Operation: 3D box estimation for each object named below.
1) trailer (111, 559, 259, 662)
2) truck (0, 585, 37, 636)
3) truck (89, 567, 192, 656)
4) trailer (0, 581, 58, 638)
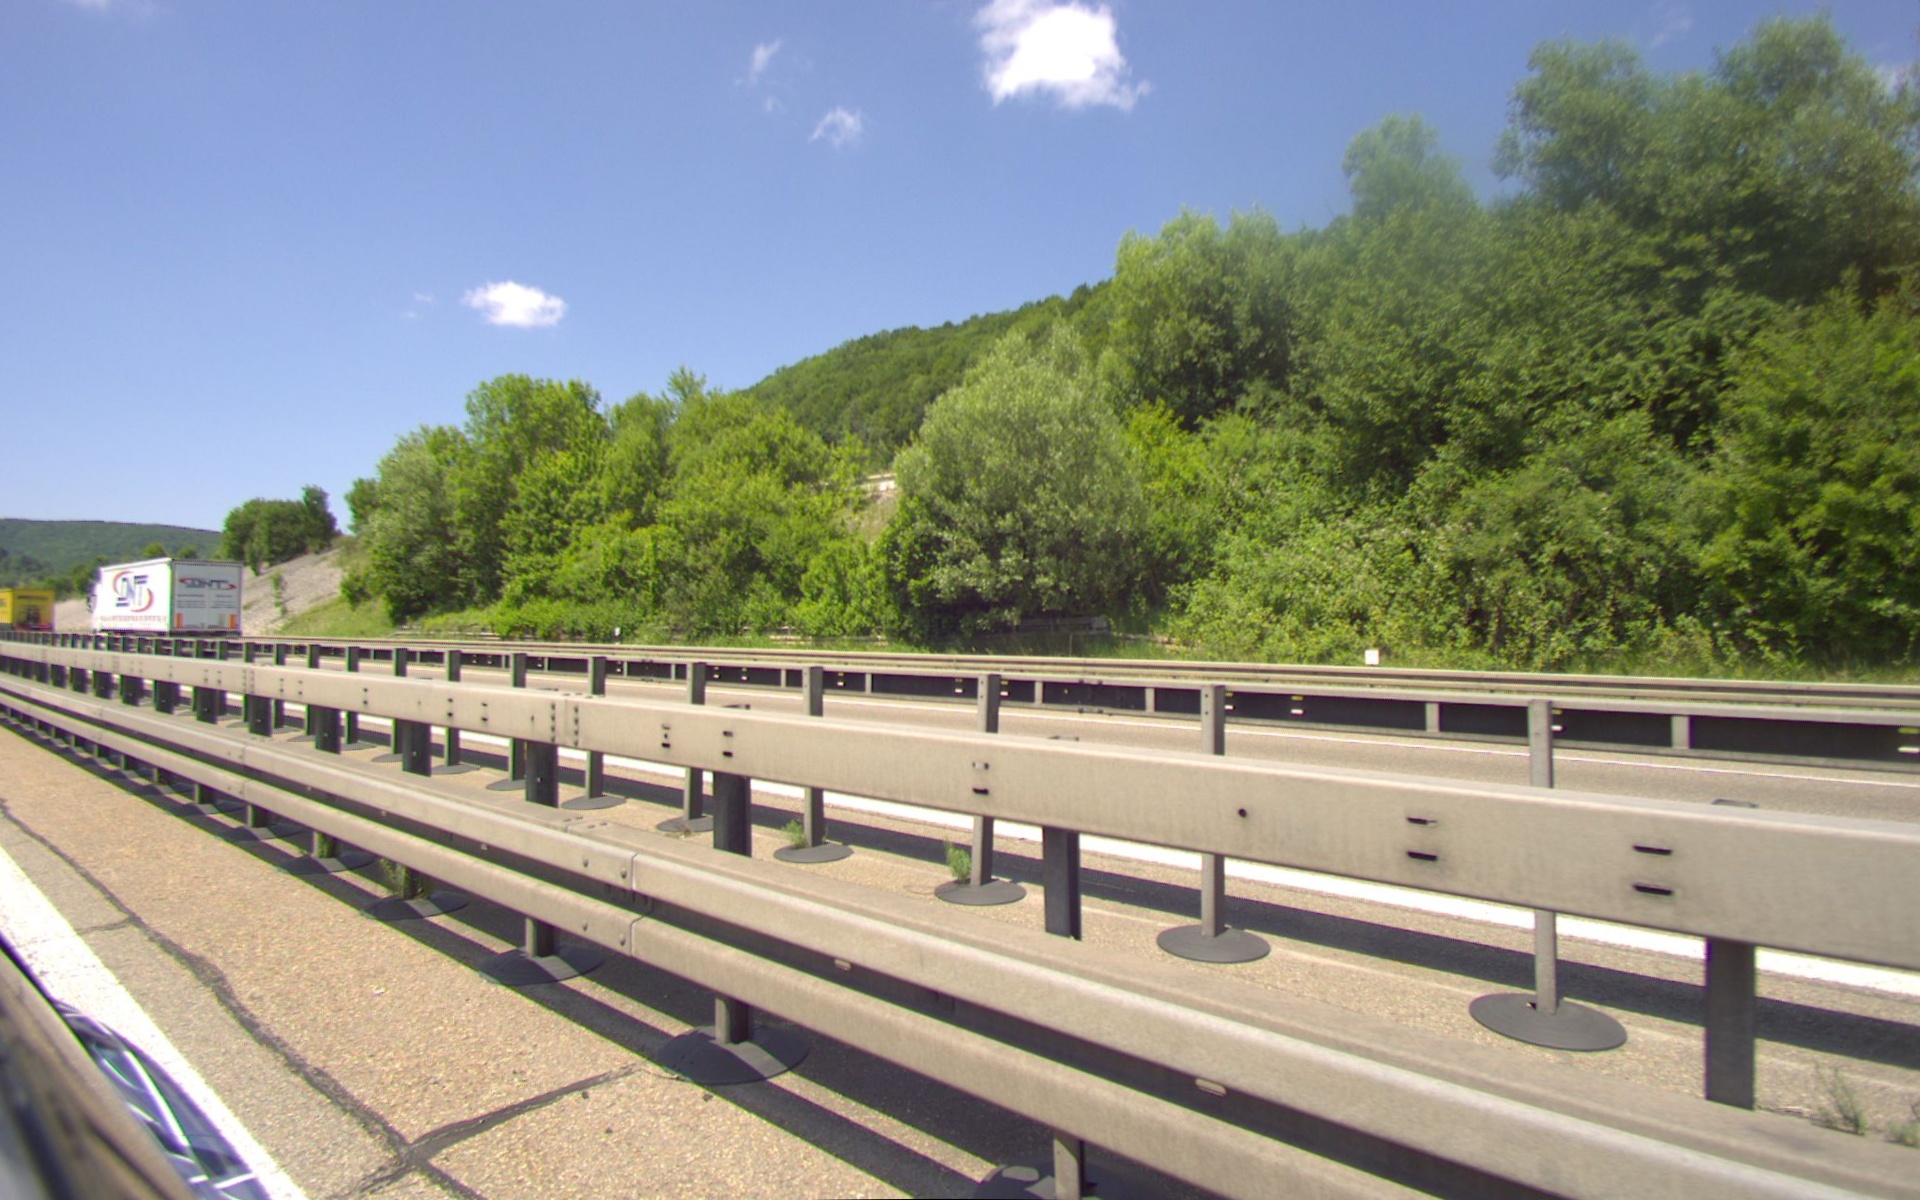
[{"bbox_3d":[-34.704,0.542,45.055,11.255,4.107,2.827,-1,-3,40],"label":"trailer"},{"bbox_3d":[-80.712,0.909,85.625,9.610,4.178,2.797,-1,-1,41],"label":"truck"},{"bbox_3d":[-40.599,0.626,50.099,5.844,4.133,2.879,-1,-3,41],"label":"truck"},{"bbox_3d":[-73.116,0.756,78.964,10.400,4.178,2.797,-1,-1,41],"label":"trailer"}]
